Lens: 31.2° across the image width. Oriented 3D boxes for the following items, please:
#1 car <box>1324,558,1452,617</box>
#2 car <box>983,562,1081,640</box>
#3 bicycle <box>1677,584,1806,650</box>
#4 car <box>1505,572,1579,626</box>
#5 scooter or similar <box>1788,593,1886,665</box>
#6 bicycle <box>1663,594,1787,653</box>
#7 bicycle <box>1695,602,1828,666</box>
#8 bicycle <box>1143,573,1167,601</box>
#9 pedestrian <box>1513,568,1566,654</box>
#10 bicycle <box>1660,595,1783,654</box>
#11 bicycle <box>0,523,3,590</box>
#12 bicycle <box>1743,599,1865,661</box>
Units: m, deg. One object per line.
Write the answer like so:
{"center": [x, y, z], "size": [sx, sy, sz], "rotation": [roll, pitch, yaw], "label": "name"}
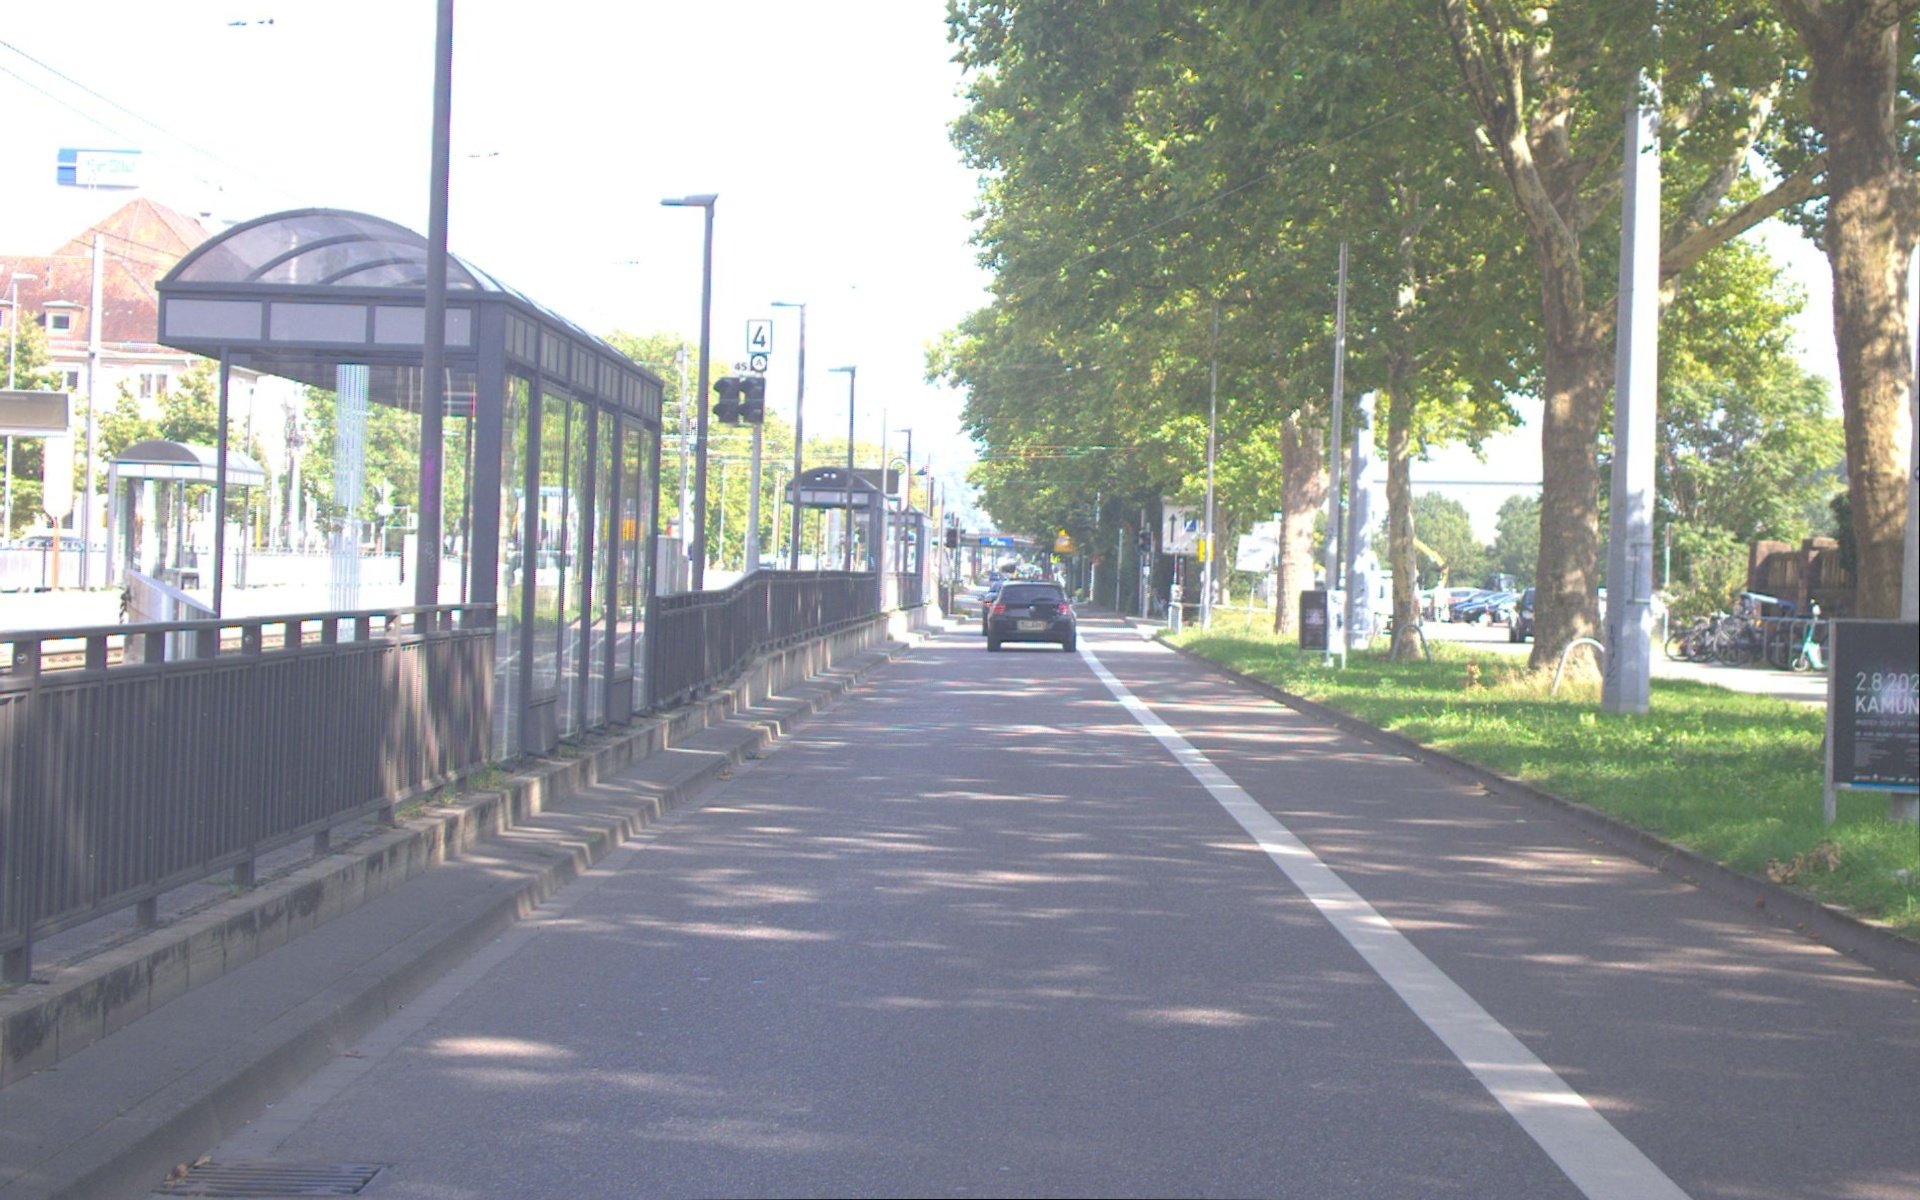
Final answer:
{"center": [14.222, -0.412, 114.373], "size": [4.104, 1.912, 1.847], "rotation": [0, 0, 4], "label": "car"}
{"center": [1.426, 0.005, 69.412], "size": [1.907, 1.532, 4.000], "rotation": [0, 1, 0], "label": "car"}
{"center": [15.082, 0.331, 66.382], "size": [2.244, 1.273, 0.999], "rotation": [0, -1, 0], "label": "bicycle"}
{"center": [17.271, -0.045, 102.160], "size": [1.608, 1.570, 3.796], "rotation": [1, 1, 1], "label": "car"}
{"center": [14.675, 0.477, 57.558], "size": [1.506, 1.187, 0.538], "rotation": [0, 0, 5], "label": "scooter or similar"}
{"center": [14.262, 0.439, 64.101], "size": [2.174, 1.073, 0.743], "rotation": [0, 0, 5], "label": "bicycle"}
{"center": [14.419, 0.600, 61.872], "size": [2.173, 1.073, 0.743], "rotation": [2, 0, 0], "label": "bicycle"}
{"center": [7.375, -0.509, 130.026], "size": [0.610, 1.018, 2.403], "rotation": [1, 1, -3], "label": "bicycle"}
{"center": [10.395, 0.186, 61.634], "size": [0.783, 1.510, 0.787], "rotation": [2, 1, 1], "label": "pedestrian"}
{"center": [14.366, 0.461, 64.900], "size": [2.174, 1.073, 0.743], "rotation": [-1, 0, 5], "label": "bicycle"}
{"center": [-16.654, -0.747, 57.559], "size": [0.471, 1.143, 1.482], "rotation": [2, 0, 16], "label": "bicycle"}
{"center": [14.422, 0.510, 58.797], "size": [1.867, 1.003, 0.735], "rotation": [2, 0, 0], "label": "bicycle"}
